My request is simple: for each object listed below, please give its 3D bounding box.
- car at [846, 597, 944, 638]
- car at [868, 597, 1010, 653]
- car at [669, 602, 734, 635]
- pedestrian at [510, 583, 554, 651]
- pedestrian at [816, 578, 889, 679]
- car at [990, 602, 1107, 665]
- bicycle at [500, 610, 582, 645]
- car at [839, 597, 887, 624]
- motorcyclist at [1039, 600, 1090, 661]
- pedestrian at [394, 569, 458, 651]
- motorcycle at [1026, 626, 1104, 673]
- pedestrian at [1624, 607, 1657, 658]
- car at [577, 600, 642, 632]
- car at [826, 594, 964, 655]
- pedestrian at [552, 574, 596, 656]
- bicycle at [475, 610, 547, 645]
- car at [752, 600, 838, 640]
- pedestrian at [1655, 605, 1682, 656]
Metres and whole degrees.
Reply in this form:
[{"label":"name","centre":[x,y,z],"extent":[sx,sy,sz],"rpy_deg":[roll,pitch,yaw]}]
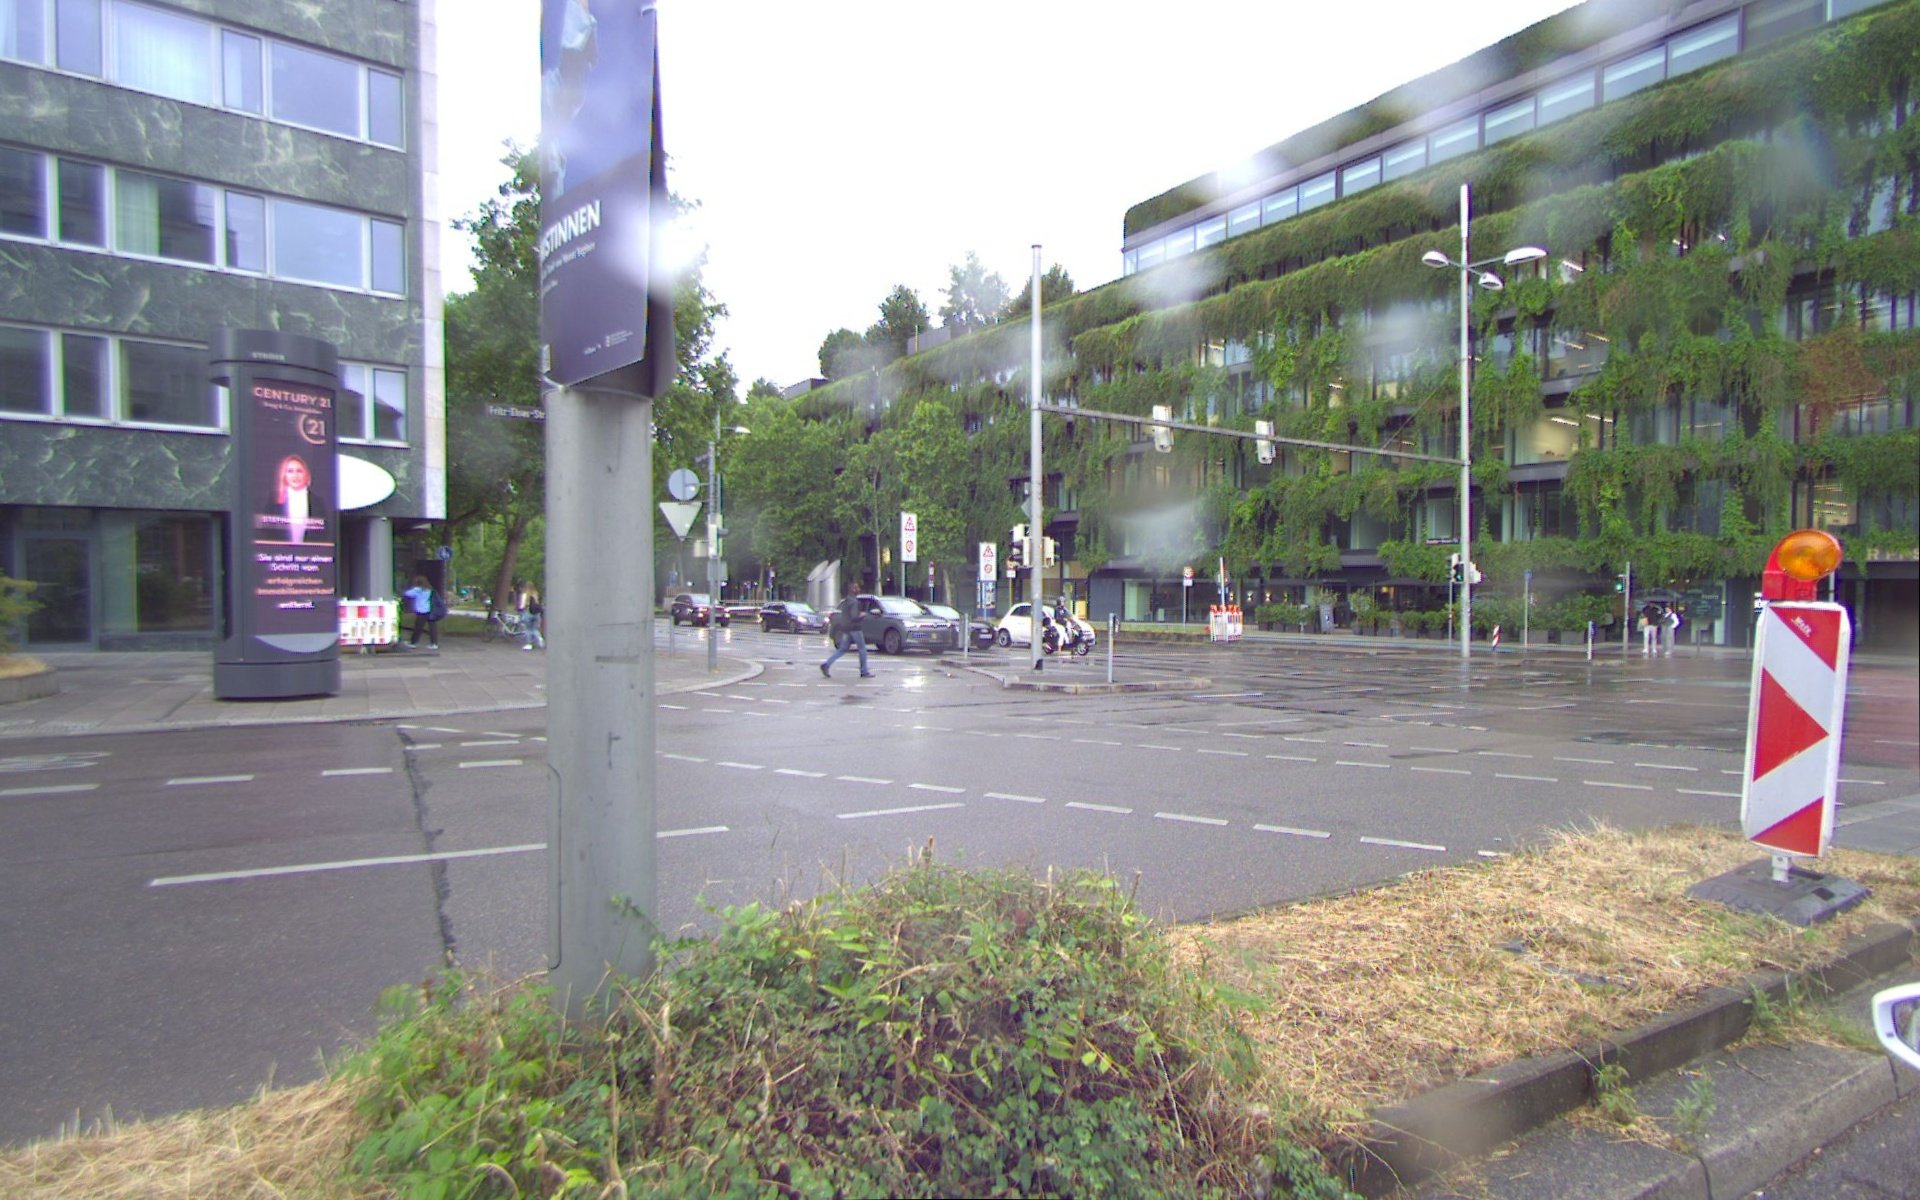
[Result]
[{"label":"car","centre":[-2.599,0.666,39.676],"extent":[1.858,1.543,3.855],"rpy_deg":[1,0,-42]},{"label":"car","centre":[-0.755,0.756,32.665],"extent":[1.957,1.674,4.755],"rpy_deg":[1,0,-43]},{"label":"car","centre":[-14.043,1.002,54.464],"extent":[1.805,1.674,4.053],"rpy_deg":[3,-1,-40]},{"label":"pedestrian","centre":[-10.508,0.428,24.648],"extent":[0.912,1.606,0.828],"rpy_deg":[1,-4,-30]},{"label":"pedestrian","centre":[-2.113,0.548,19.758],"extent":[1.225,1.910,0.685],"rpy_deg":[1,2,-34]},{"label":"car","centre":[2.898,1.055,33.245],"extent":[1.985,1.948,3.417],"rpy_deg":[1,0,-42]},{"label":"bicycle","centre":[-12.130,0.796,29.152],"extent":[2.170,0.968,0.423],"rpy_deg":[2,-1,-44]},{"label":"car","centre":[-7.518,0.812,77.294],"extent":[1.979,2.040,4.073],"rpy_deg":[1,-1,-34]},{"label":"motorcyclist","centre":[3.021,0.873,29.051],"extent":[1.173,1.725,0.843],"rpy_deg":[1,0,44]},{"label":"pedestrian","centre":[-12.599,0.258,23.733],"extent":[1.004,1.878,0.878],"rpy_deg":[-2,-3,15]},{"label":"motorcycle","centre":[3.024,1.404,29.041],"extent":[2.204,1.227,0.843],"rpy_deg":[1,0,44]},{"label":"pedestrian","centre":[24.568,1.166,36.269],"extent":[0.923,1.781,1.167],"rpy_deg":[1,0,37]},{"label":"car","centre":[-19.633,0.866,56.258],"extent":[1.986,1.674,4.050],"rpy_deg":[3,-1,-42]},{"label":"car","centre":[-1.994,0.676,29.687],"extent":[1.984,1.674,4.189],"rpy_deg":[1,0,-40]},{"label":"pedestrian","centre":[-9.223,0.377,23.989],"extent":[0.887,1.909,0.781],"rpy_deg":[1,-4,-30]},{"label":"bicycle","centre":[-12.398,0.755,27.766],"extent":[1.773,0.946,0.473],"rpy_deg":[1,0,-21]},{"label":"car","centre":[-7.545,0.883,45.725],"extent":[1.986,1.674,4.050],"rpy_deg":[3,-1,-42]},{"label":"pedestrian","centre":[25.158,1.064,35.650],"extent":[0.731,1.781,0.972],"rpy_deg":[1,0,37]}]
